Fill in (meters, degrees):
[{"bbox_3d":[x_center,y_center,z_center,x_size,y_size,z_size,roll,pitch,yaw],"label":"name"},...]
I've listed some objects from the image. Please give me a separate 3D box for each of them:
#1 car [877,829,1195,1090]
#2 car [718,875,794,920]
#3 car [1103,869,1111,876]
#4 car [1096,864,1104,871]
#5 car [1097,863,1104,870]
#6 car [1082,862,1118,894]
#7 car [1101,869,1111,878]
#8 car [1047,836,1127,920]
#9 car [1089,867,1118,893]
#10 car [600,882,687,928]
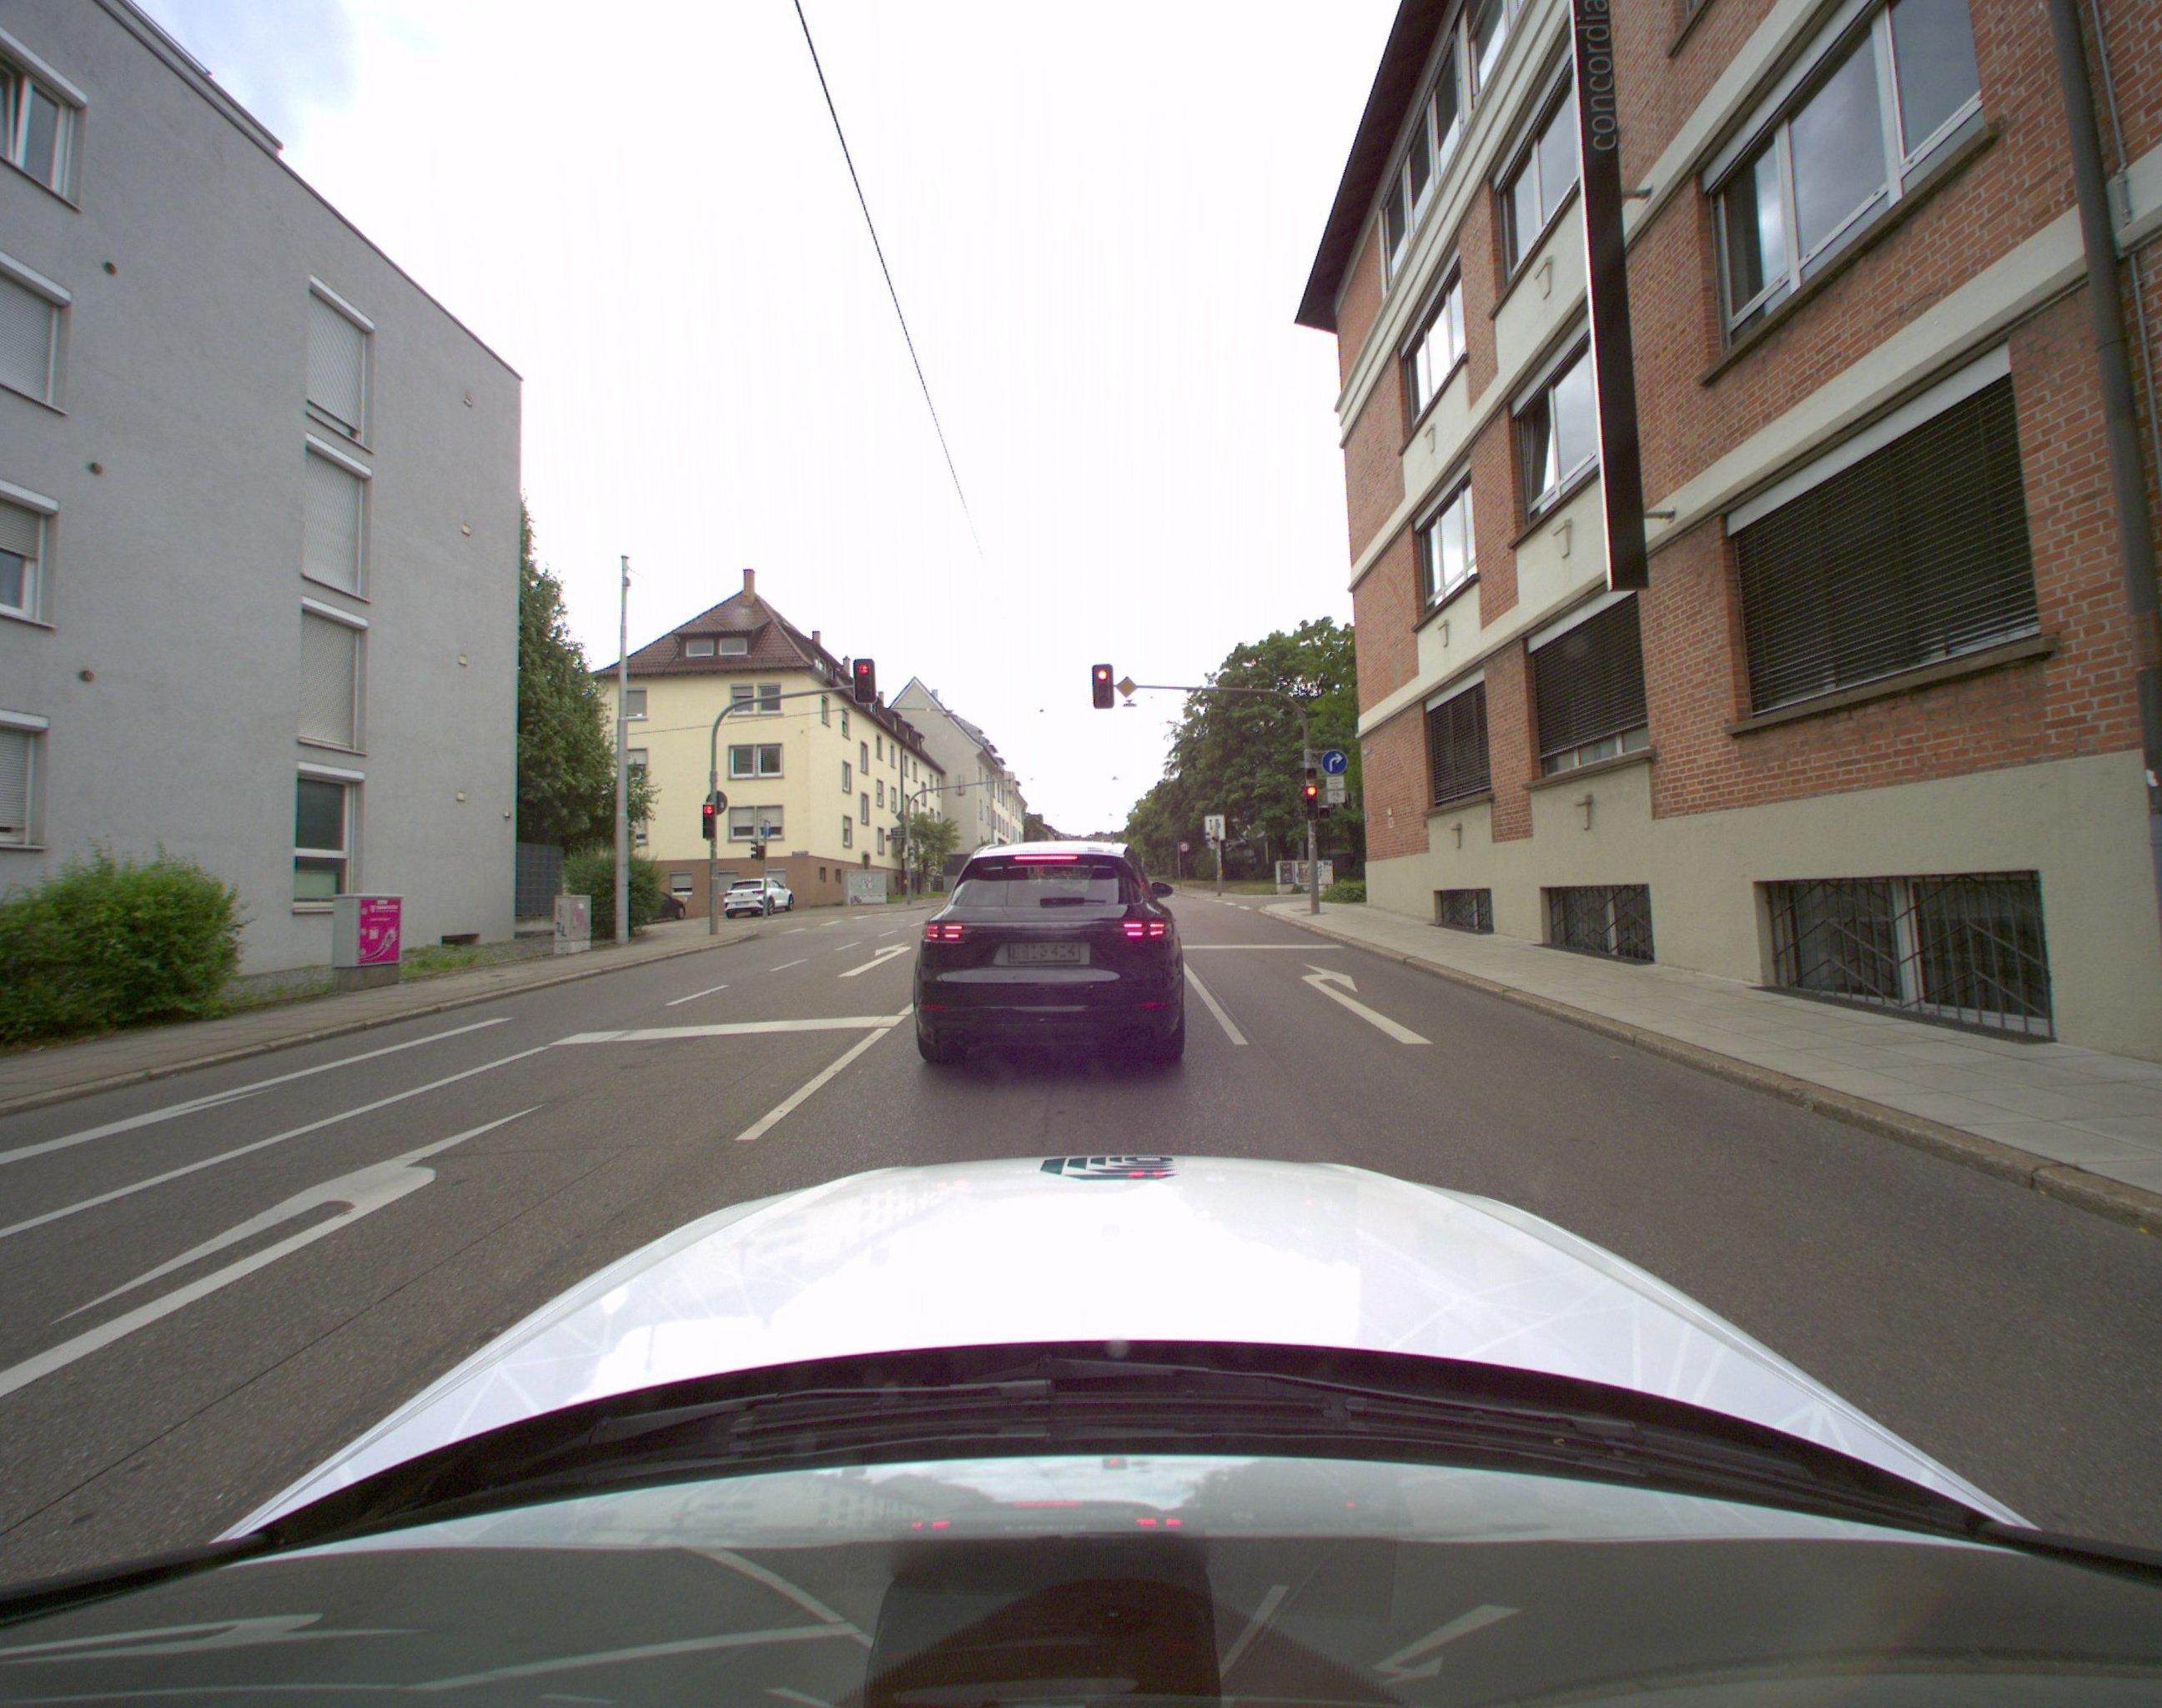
[{"bbox_3d":[-0.212,0.681,7.373,2.040,1.666,4.269,0,0,2],"label":"car"},{"bbox_3d":[-13.535,1.768,34.179,1.686,1.555,3.763,-4,0,-2],"label":"car"},{"bbox_3d":[5.885,4.117,182.533,1.820,1.605,4.137,0,0,2],"label":"car"},{"bbox_3d":[4.679,3.281,203.056,1.820,1.605,4.137,0,0,2],"label":"car"},{"bbox_3d":[5.099,3.256,210.378,1.820,1.605,4.137,0,0,2],"label":"car"},{"bbox_3d":[1.051,1.265,43.932,1.820,1.605,4.137,0,0,2],"label":"car"},{"bbox_3d":[5.046,3.886,163.367,1.820,1.605,4.137,0,0,2],"label":"car"},{"bbox_3d":[0.223,0.596,22.024,1.957,2.042,4.137,0,0,2],"label":"car"},{"bbox_3d":[1.467,1.644,52.640,1.820,1.605,3.860,0,0,2],"label":"car"},{"bbox_3d":[-18.500,2.132,34.644,1.686,1.608,3.763,-4,0,-2],"label":"car"}]
